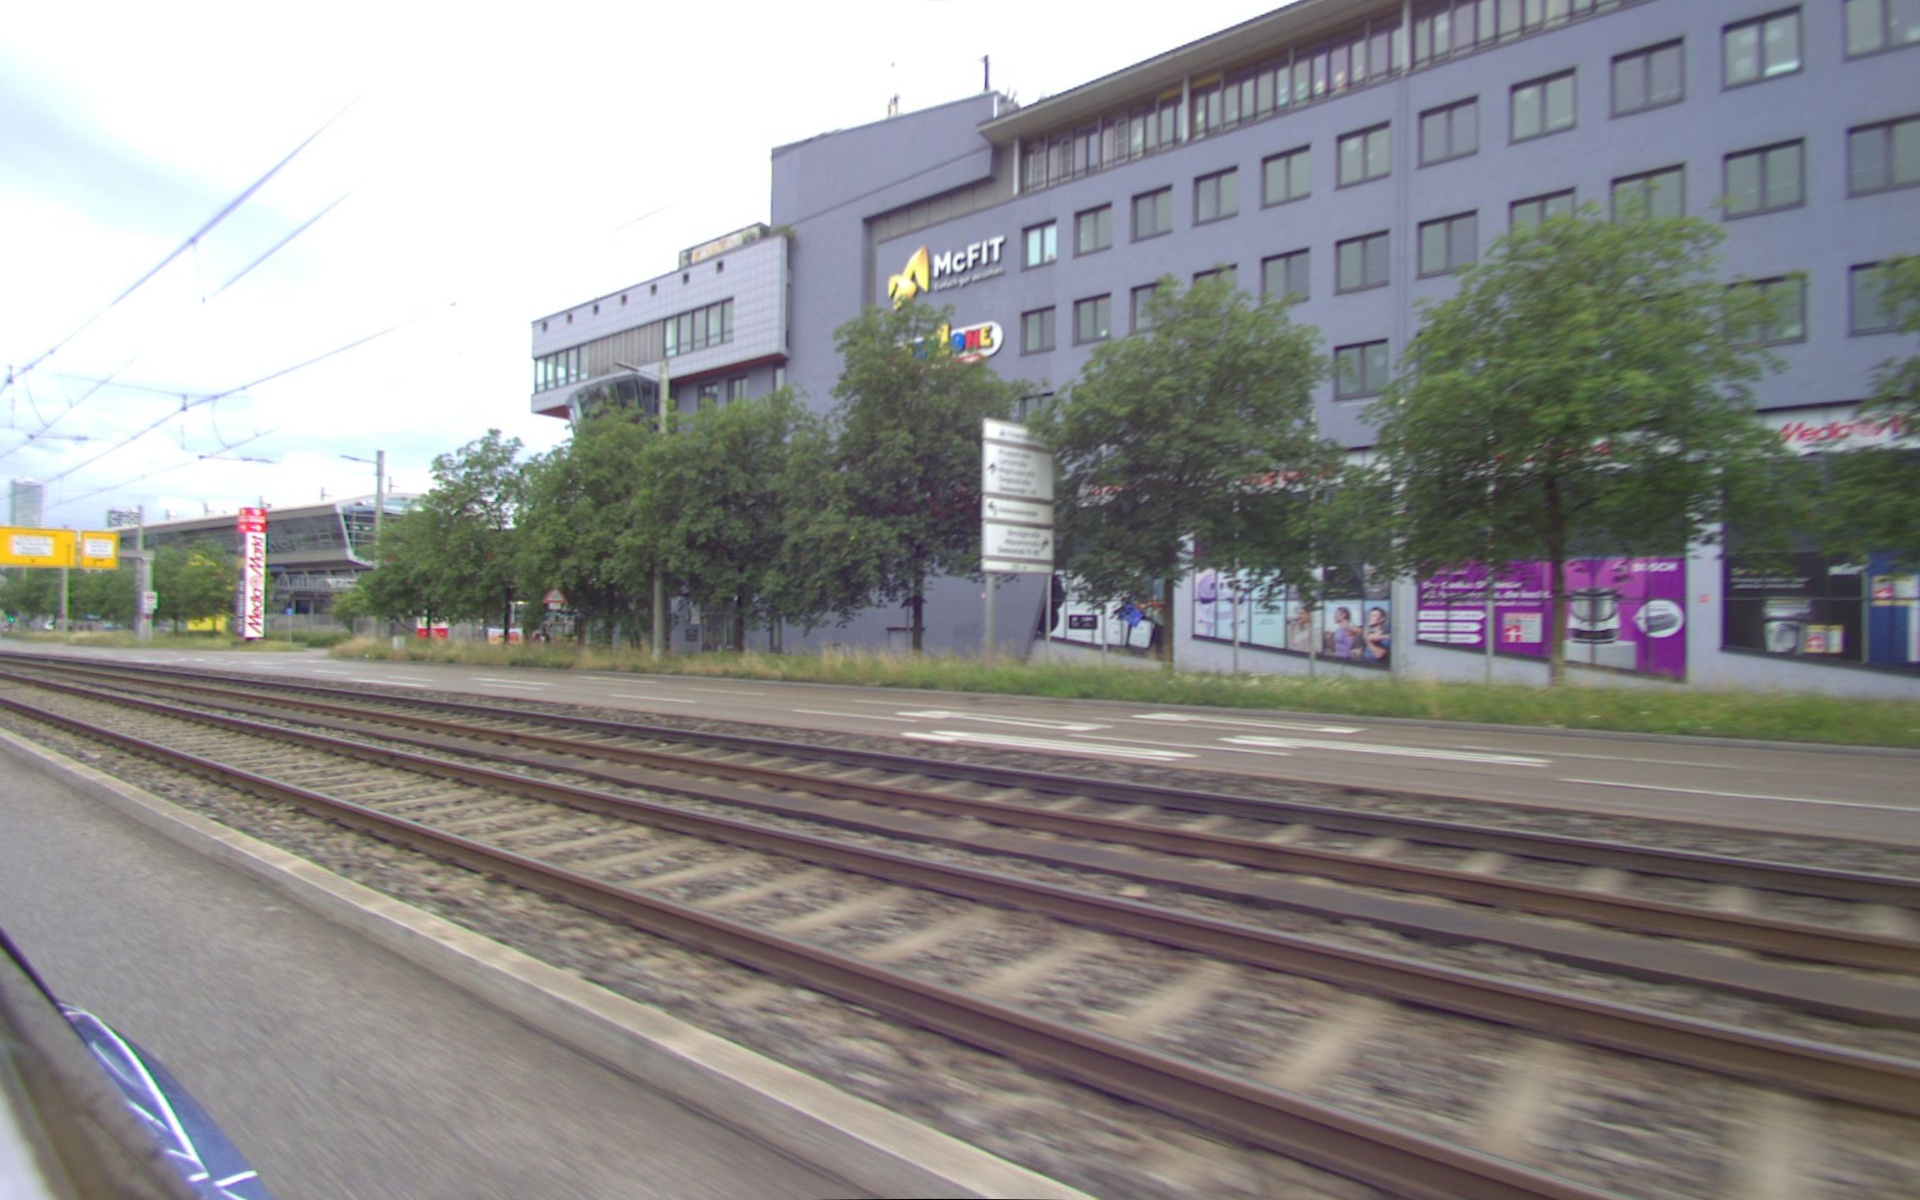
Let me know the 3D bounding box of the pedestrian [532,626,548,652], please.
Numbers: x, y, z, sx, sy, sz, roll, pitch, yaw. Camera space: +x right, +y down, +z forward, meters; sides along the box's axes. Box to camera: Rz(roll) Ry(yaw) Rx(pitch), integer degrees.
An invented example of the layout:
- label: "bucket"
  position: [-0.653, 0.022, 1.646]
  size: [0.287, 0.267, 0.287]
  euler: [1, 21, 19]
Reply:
- label: "pedestrian"
  position: [-27.665, 2.563, 66.659]
  size: [0.578, 1.692, 0.802]
  euler: [-1, -3, 28]
